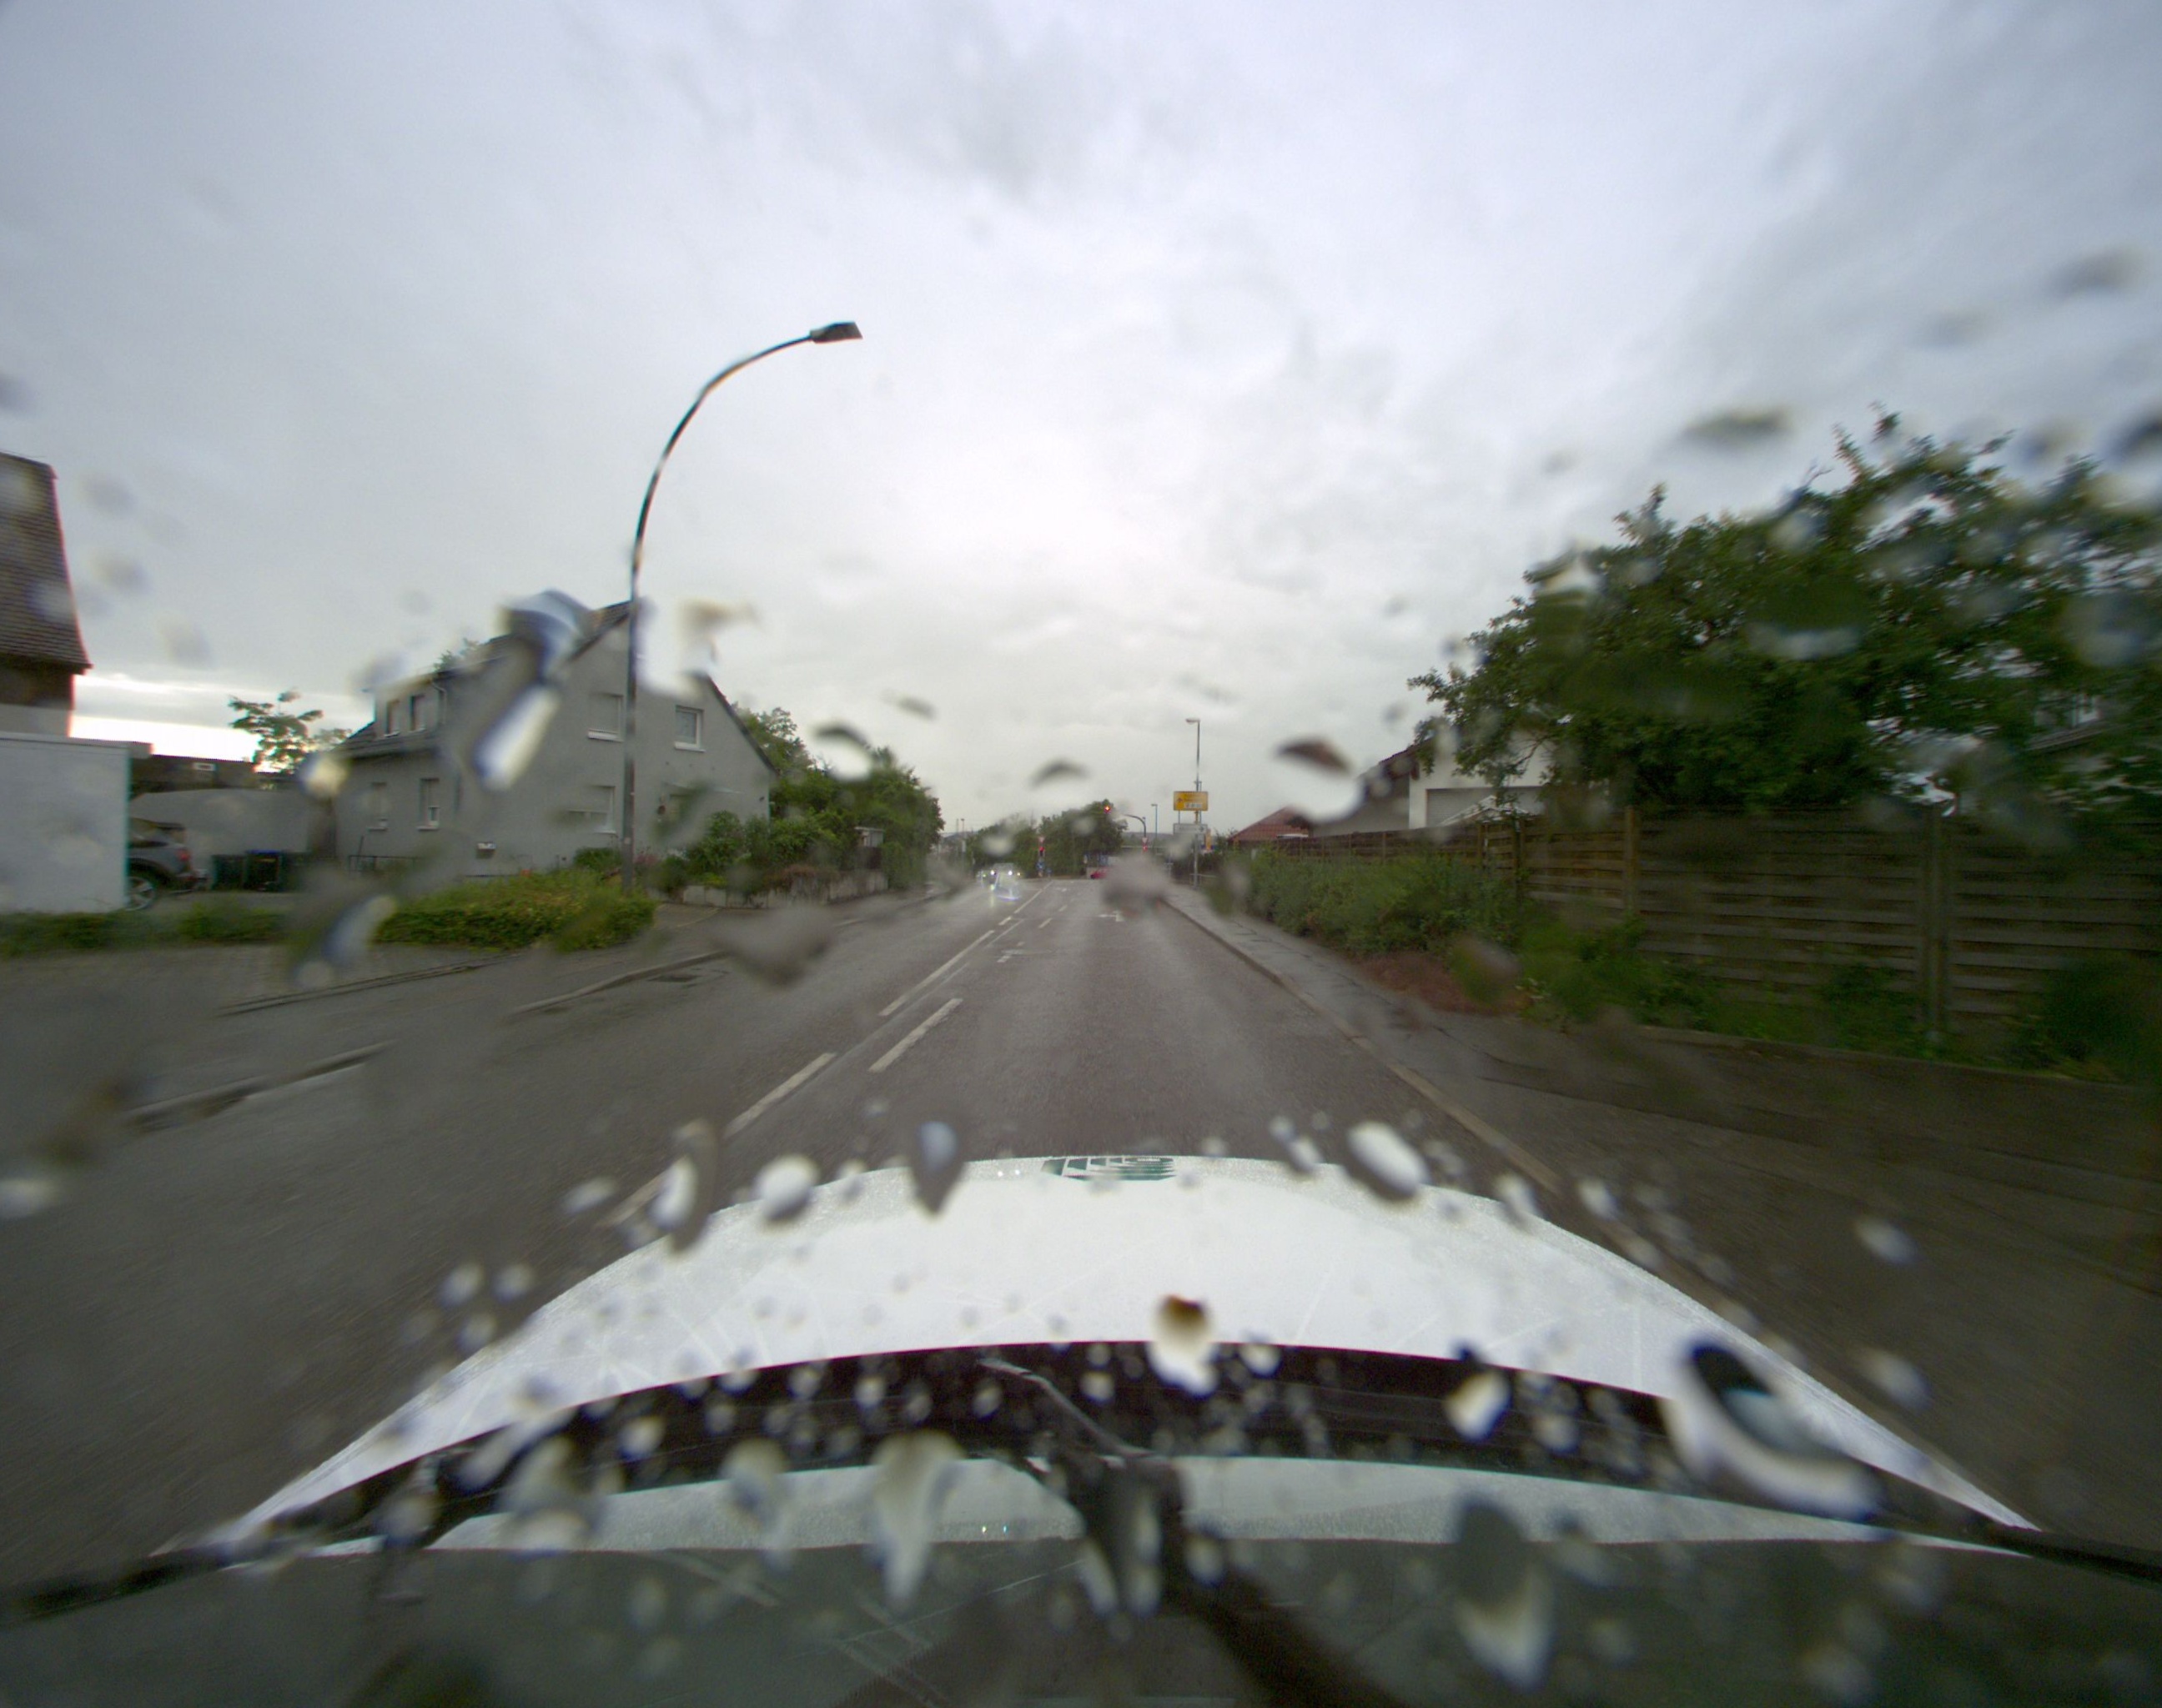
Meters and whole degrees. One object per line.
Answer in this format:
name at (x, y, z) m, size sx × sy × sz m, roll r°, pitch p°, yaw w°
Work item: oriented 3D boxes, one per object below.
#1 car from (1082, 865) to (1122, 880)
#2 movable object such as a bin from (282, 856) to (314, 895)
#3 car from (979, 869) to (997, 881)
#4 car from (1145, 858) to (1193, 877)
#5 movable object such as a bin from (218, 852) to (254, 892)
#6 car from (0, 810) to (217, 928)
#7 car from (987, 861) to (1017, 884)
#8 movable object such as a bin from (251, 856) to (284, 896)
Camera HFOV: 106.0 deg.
car at (2.663, 2.426, 104.081) m, size 2.318 × 1.690 × 4.698 m, roll -3°, pitch 0°, yaw -45°
movable object such as a bin at (-20.995, 0.577, 21.836) m, size 0.488 × 1.015 × 0.550 m, roll 1°, pitch 0°, yaw 37°
car at (-13.059, 2.938, 114.658) m, size 1.996 × 1.464 × 3.981 m, roll -1°, pitch 0°, yaw -14°
car at (10.399, 1.603, 96.490) m, size 5.432 × 2.013 × 2.006 m, roll -3°, pitch 0°, yaw 10°
movable object such as a bin at (-21.805, 0.462, 21.008) m, size 0.521 × 1.015 × 0.581 m, roll 1°, pitch 0°, yaw 37°
car at (-16.016, 0.212, 12.000) m, size 1.978 × 1.661 × 4.018 m, roll 0°, pitch 0°, yaw 18°
car at (-5.665, 1.293, 58.899) m, size 1.799 × 1.523 × 3.999 m, roll 1°, pitch 0°, yaw 0°
movable object such as a bin at (-21.390, 0.578, 21.408) m, size 0.488 × 1.015 × 0.550 m, roll 1°, pitch 0°, yaw 37°
